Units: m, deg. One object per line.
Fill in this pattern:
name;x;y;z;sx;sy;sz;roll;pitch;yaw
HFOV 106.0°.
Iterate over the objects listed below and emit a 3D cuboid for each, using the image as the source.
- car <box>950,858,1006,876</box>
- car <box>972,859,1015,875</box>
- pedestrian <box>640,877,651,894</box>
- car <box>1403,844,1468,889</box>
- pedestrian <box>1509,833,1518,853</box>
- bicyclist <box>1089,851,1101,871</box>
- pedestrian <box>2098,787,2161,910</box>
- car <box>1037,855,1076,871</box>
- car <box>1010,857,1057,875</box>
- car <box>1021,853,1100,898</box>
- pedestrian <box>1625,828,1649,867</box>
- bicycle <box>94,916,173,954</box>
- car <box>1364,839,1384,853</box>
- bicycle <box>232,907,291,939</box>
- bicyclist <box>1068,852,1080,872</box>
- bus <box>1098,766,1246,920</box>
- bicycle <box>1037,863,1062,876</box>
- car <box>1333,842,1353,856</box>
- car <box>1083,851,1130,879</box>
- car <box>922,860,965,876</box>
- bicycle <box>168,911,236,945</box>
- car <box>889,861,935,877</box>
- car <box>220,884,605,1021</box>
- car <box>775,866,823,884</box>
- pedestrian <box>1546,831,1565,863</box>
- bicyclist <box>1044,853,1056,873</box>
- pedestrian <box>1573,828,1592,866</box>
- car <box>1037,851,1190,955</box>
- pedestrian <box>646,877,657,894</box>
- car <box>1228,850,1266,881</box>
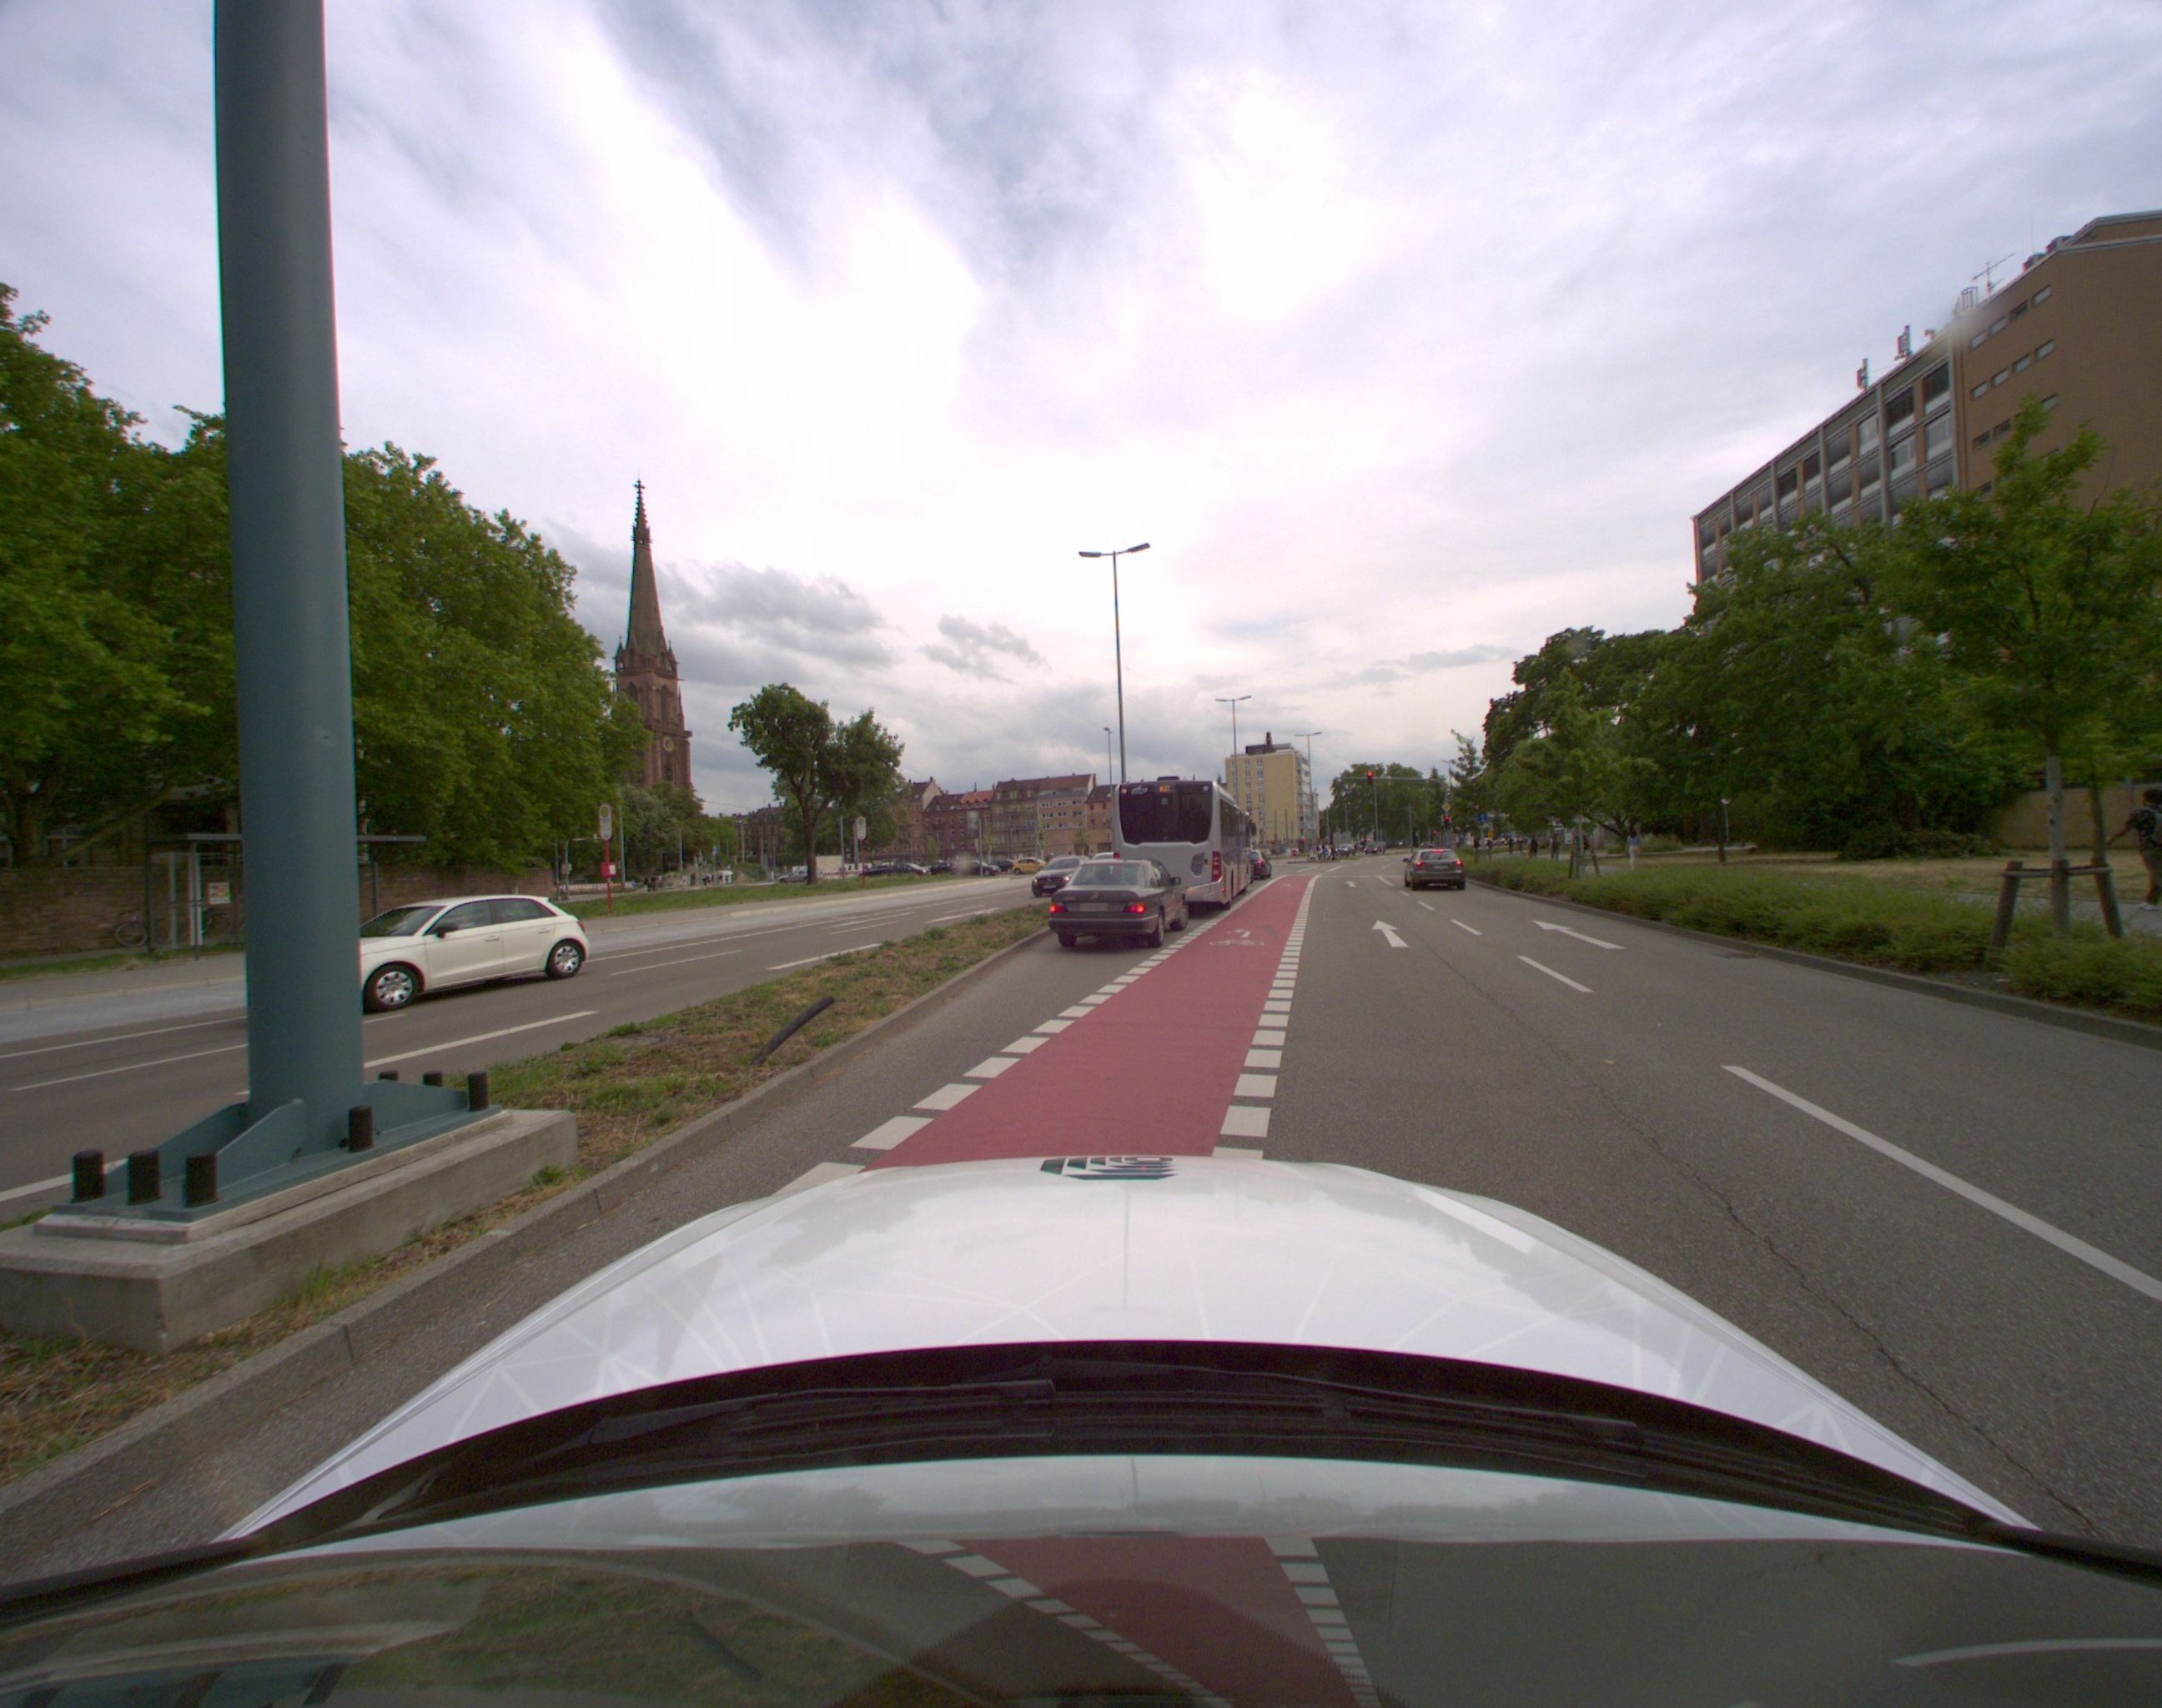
car;-9.168;1.143;72.752;4.639;1.475;1.665;-1;0;11
car;-8.280;1.210;77.144;3.739;1.394;1.589;-1;0;11
pedestrian;-43.303;3.113;80.901;0.558;1.560;0.728;-3;1;10
car;12.753;0.406;29.487;1.711;1.457;3.753;-3;0;17
pedestrian;43.167;-1.101;81.276;0.609;2.013;0.600;-2;0;15
bicyclist;1.194;0.557;67.589;0.781;1.643;0.616;-3;0;13
pedestrian;15.158;-0.091;11.524;0.583;1.683;0.751;-3;0;16
car;-2.302;0.870;76.464;3.663;1.394;1.583;-1;0;-2
car;-4.206;1.064;71.957;3.832;1.517;1.665;-1;0;11
car;-0.698;0.789;31.806;1.741;1.489;4.396;-3;0;16
pedestrian;21.174;-0.254;31.021;0.650;1.470;0.565;-3;0;33
bicycle;-26.418;2.238;22.734;0.480;0.907;1.616;0;0;-8
car;45.556;-1.317;126.669;1.974;2.013;4.026;-3;0;33
bicycle;-27.033;2.257;26.881;0.480;0.907;1.616;0;0;-8
bicyclist;-0.592;0.654;68.355;0.780;1.643;0.575;-3;0;15
bus;2.842;-0.273;22.488;2.811;3.390;8.214;-2;0;14
bicycle;-2.654;1.299;69.239;1.951;0.982;0.633;-3;0;11
car;37.265;-0.714;115.714;1.789;1.850;4.026;-3;0;32
car;1.533;0.634;48.067;1.683;1.443;4.194;-3;0;16
car;-13.167;1.318;77.932;3.739;1.394;1.589;-1;0;11
bicycle;-26.824;2.250;24.888;0.480;0.907;1.616;0;0;-8
car;-15.400;1.365;74.105;3.739;1.394;1.589;-1;0;11
car;-9.184;1.273;11.662;1.658;1.389;3.939;-4;0;16
car;-28.440;2.100;82.197;4.128;1.649;1.651;-3;0;10
pedestrian;26.084;-0.383;44.768;0.794;1.713;0.769;-3;0;29
bicyclist;-2.622;0.728;69.239;0.781;1.643;0.574;-3;0;11
pedestrian;23.007;-0.331;37.384;0.640;1.713;0.565;-3;0;31
car;0.738;0.745;14.320;1.748;1.489;4.188;-2;0;15
pedestrian;-42.402;3.092;80.365;0.558;1.560;0.728;-3;1;10
car;8.320;0.558;40.622;1.643;1.396;3.874;-2;0;13
